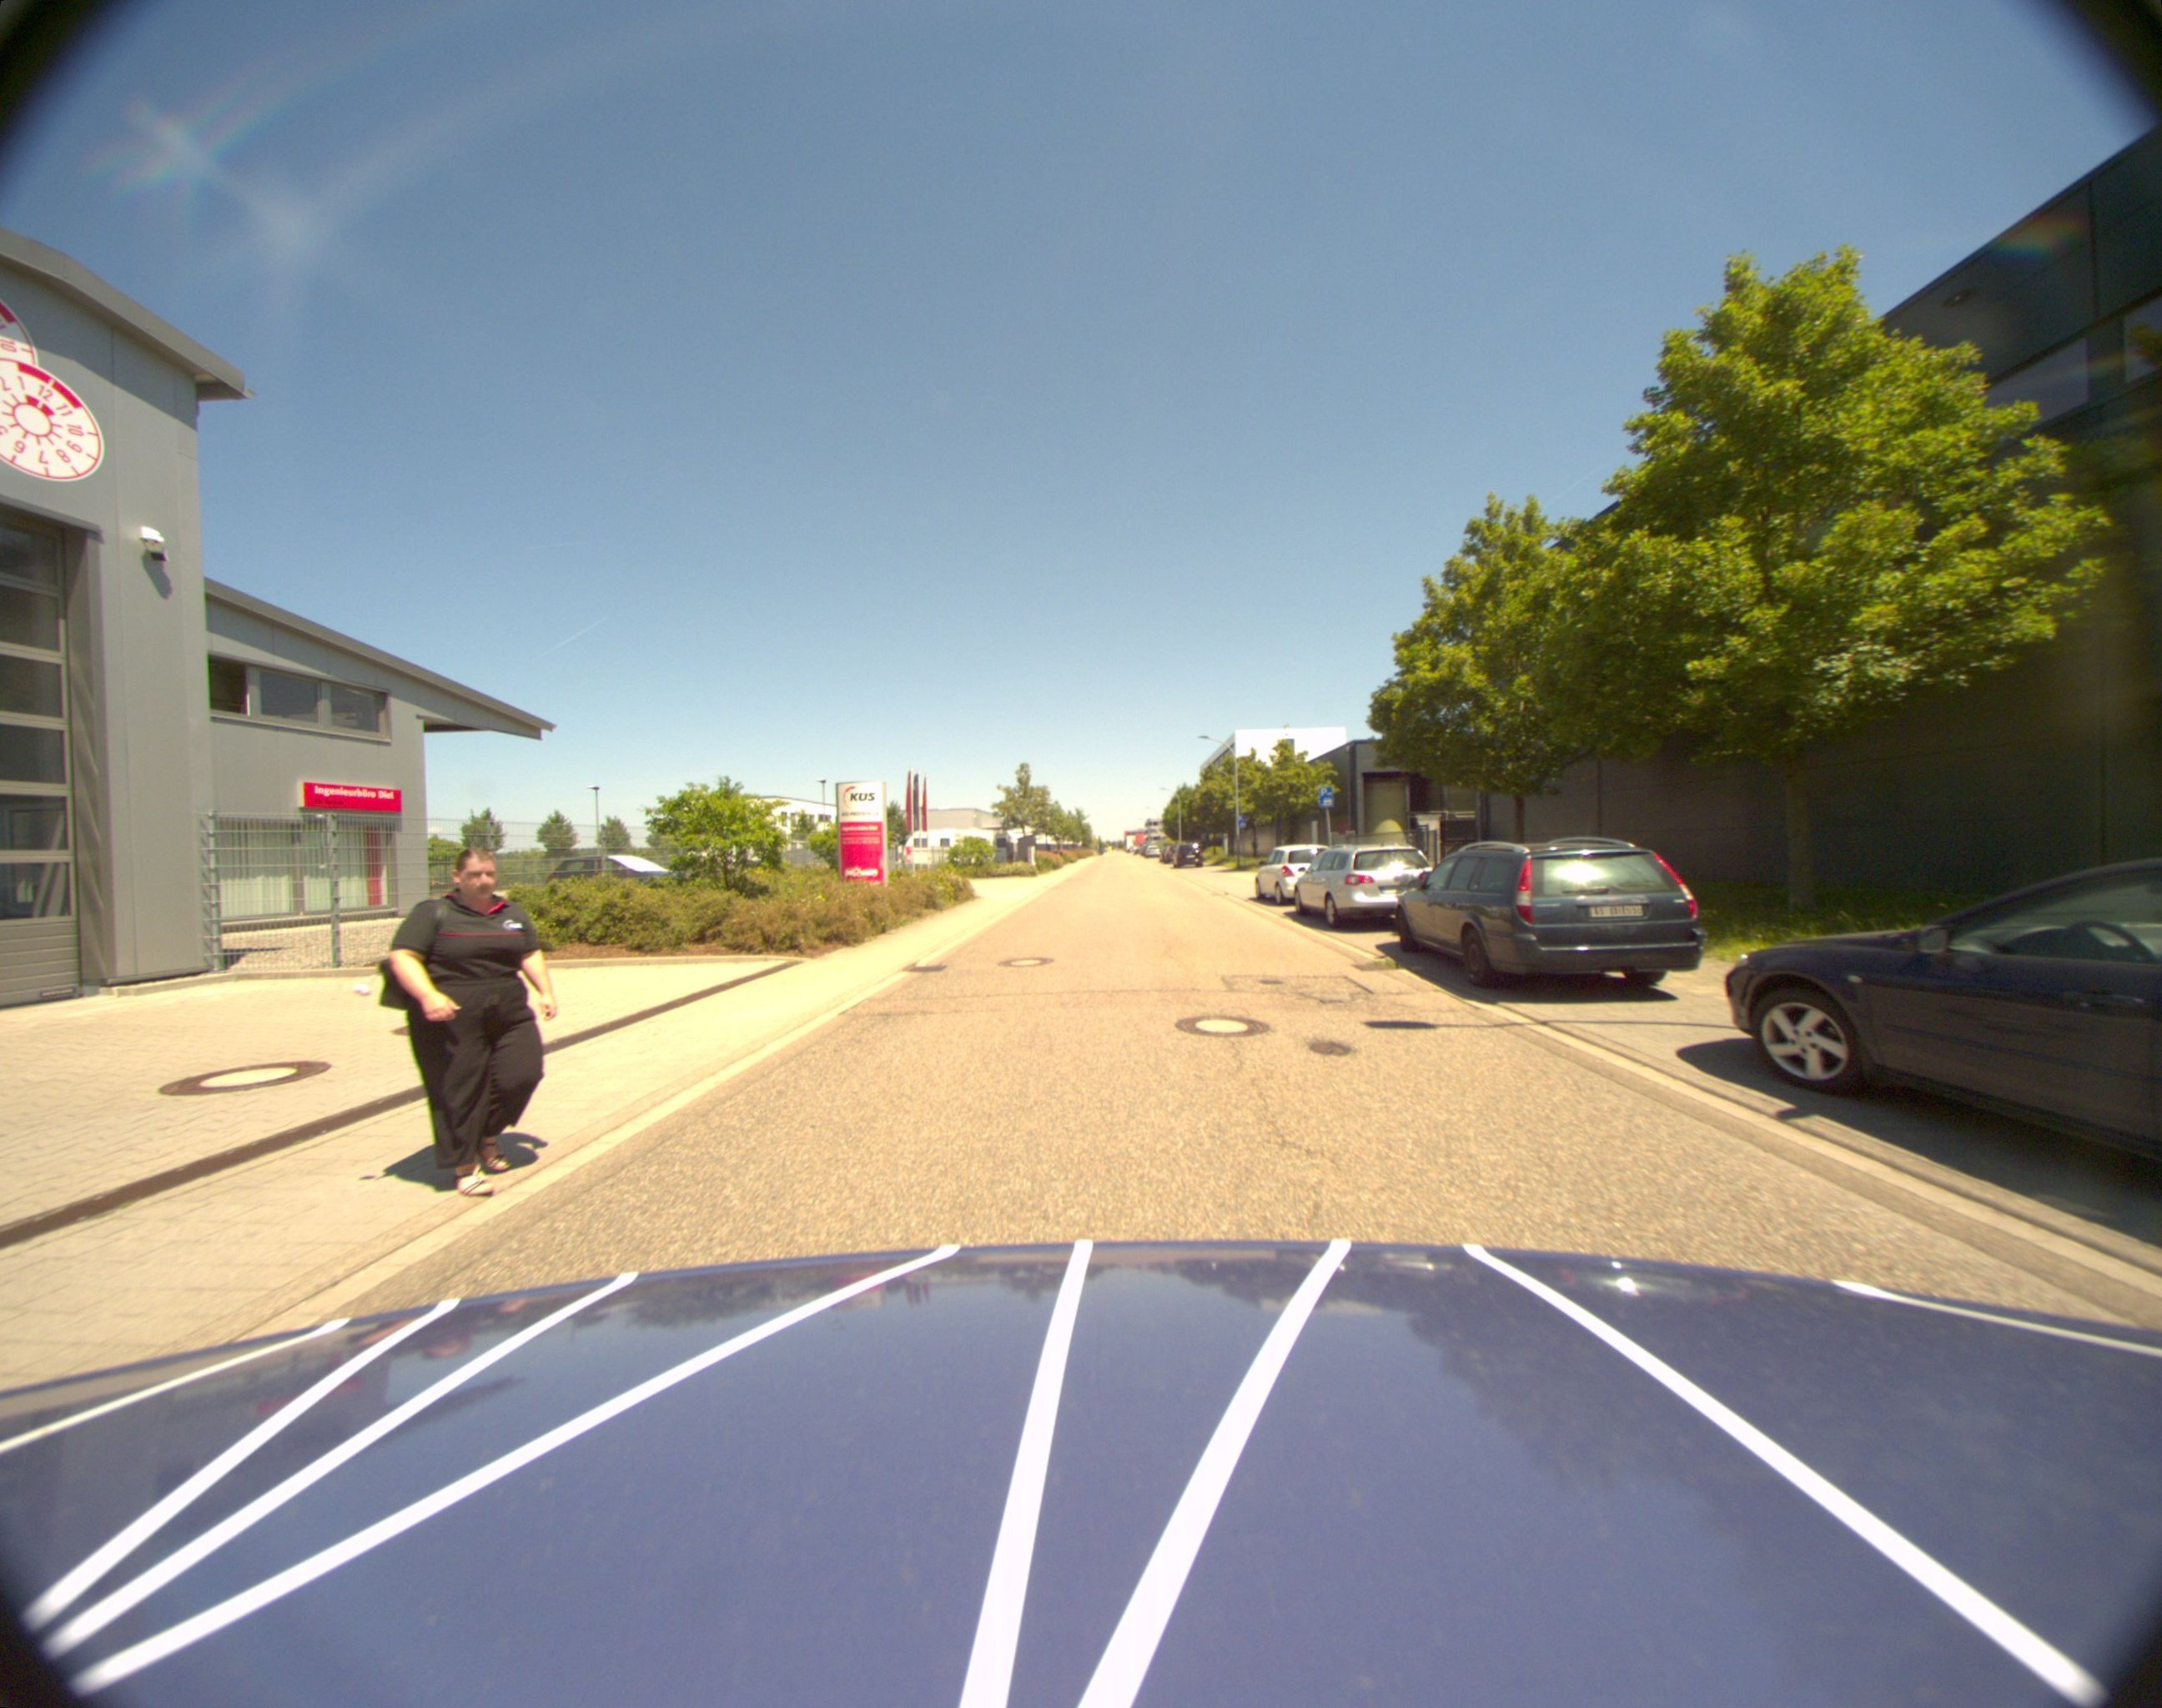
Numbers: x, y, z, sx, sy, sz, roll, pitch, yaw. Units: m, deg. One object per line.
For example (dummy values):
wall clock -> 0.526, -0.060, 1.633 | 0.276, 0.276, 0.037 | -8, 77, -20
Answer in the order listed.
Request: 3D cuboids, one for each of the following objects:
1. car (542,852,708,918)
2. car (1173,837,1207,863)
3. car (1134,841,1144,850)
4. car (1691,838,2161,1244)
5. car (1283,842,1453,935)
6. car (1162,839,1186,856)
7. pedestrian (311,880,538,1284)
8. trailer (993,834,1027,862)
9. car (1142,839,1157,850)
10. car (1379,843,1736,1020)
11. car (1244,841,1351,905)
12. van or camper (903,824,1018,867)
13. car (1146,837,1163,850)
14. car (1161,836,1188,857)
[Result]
car -> -12.844, 0.848, 21.535 | 3.619, 1.667, 1.703 | -1, 1, 2
car -> 7.364, -0.306, 51.544 | 1.775, 1.602, 4.247 | -2, 1, 2
car -> 11.924, -1.733, 157.464 | 1.678, 1.442, 4.069 | -13, 1, 3
car -> 4.948, 0.705, 2.809 | 1.803, 1.467, 4.588 | -2, 1, 2
car -> 5.357, 0.539, 14.874 | 1.803, 1.467, 4.555 | -2, 1, 3
car -> 8.517, -0.616, 70.110 | 1.775, 1.423, 4.200 | -2, 1, 2
pedestrian -> -2.930, 0.936, 3.458 | 0.715, 1.604, 0.500 | 1, 2, -35
trailer -> -6.001, -0.522, 64.454 | 2.829, 2.390, 1.419 | 0, 1, -1
car -> 10.598, -1.447, 117.780 | 1.775, 1.578, 4.481 | -2, 0, 1
car -> 5.030, 0.658, 8.922 | 1.802, 1.467, 4.639 | -2, 1, 8
car -> 5.650, 0.430, 20.294 | 1.725, 1.467, 3.857 | -2, 1, 1
van or camper -> -7.542, -0.542, 48.248 | 6.773, 2.570, 2.635 | -1, 1, 2
car -> 8.986, -1.297, 93.036 | 1.775, 1.423, 3.940 | -3, 1, 3
car -> 7.867, -0.637, 64.093 | 1.775, 1.602, 4.852 | -2, 1, 2
